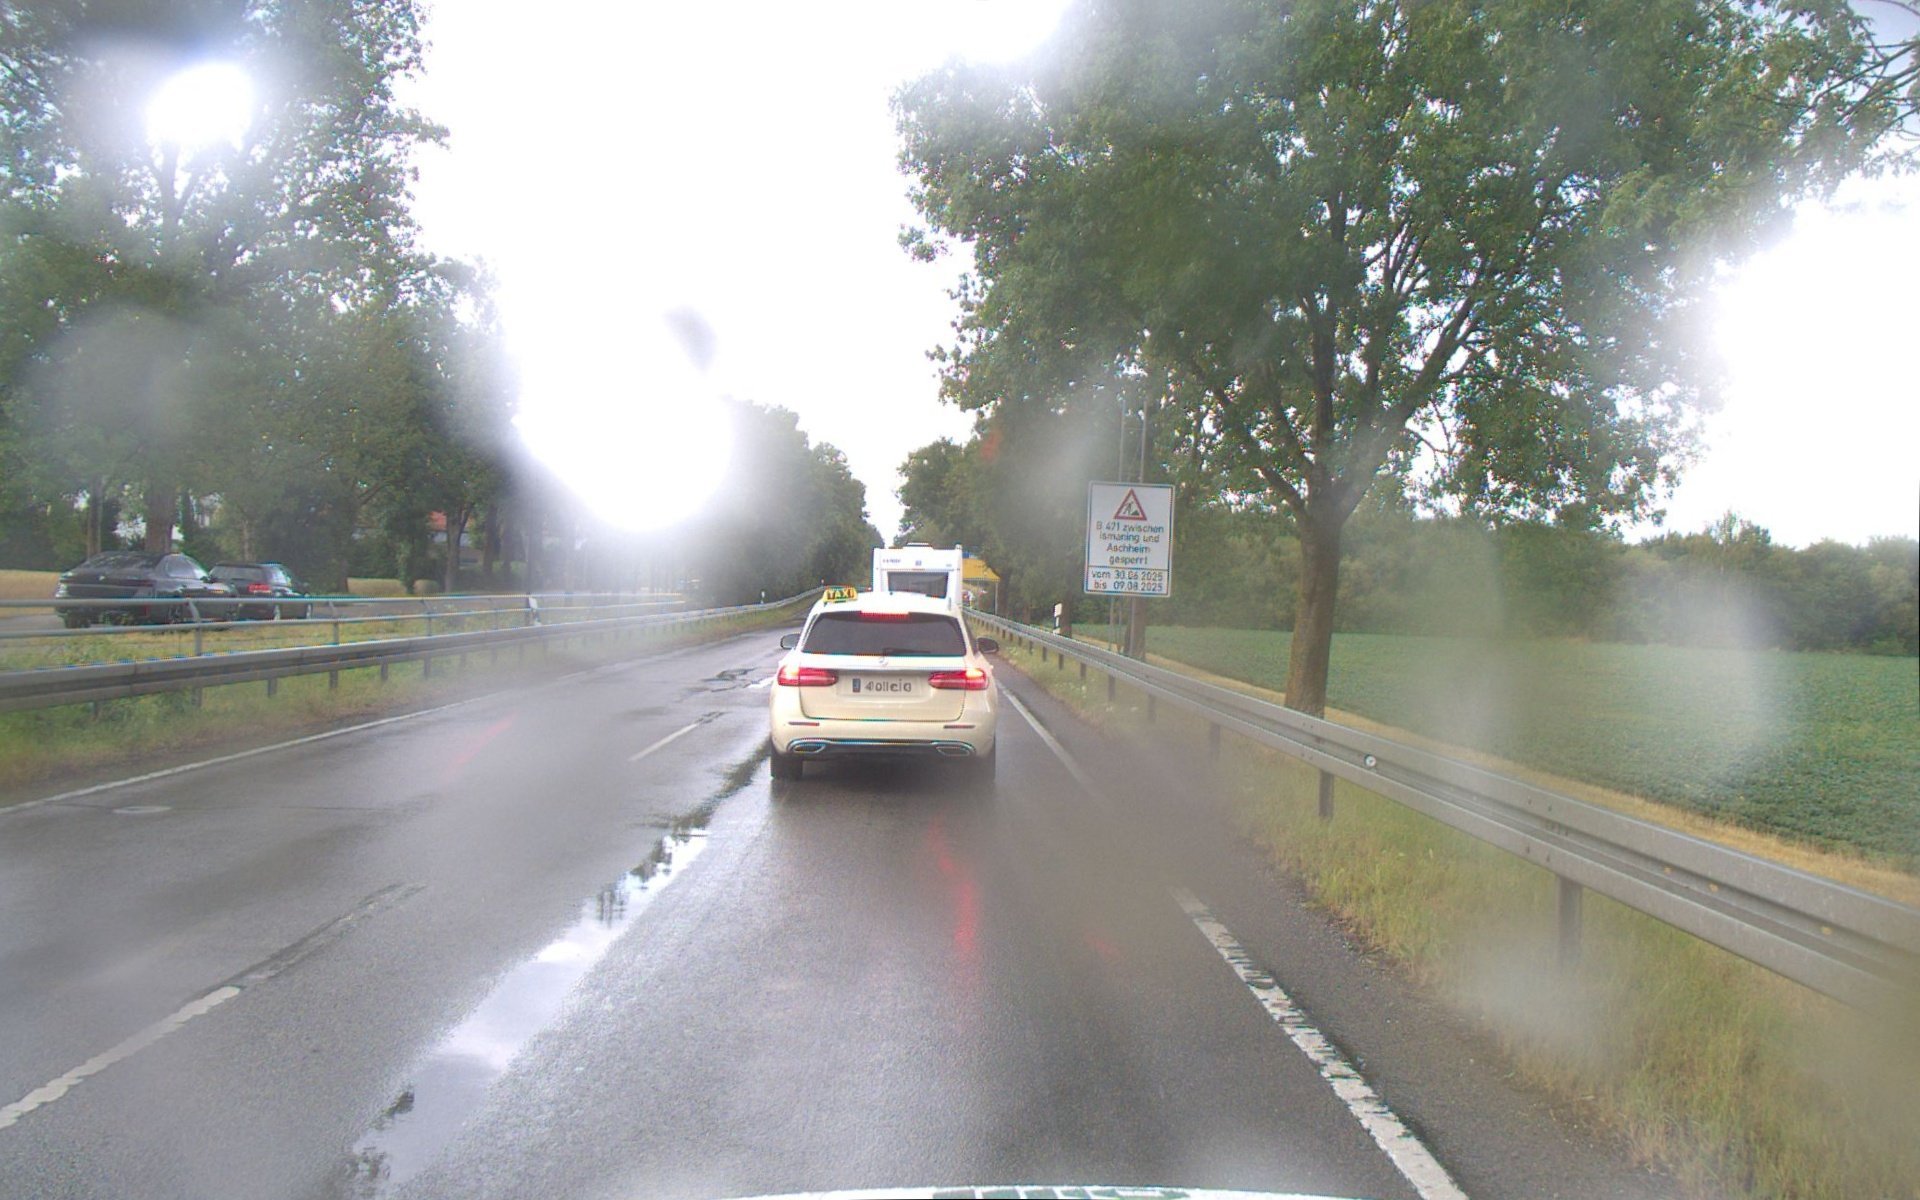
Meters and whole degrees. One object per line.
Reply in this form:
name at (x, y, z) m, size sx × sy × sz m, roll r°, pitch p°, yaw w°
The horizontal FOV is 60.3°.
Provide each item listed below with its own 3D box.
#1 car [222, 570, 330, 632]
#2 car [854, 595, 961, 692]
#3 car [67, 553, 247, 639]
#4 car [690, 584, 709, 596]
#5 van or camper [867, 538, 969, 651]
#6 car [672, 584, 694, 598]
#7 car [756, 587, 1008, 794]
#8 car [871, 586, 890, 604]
car at (-16.186, 0.007, 39.289) m, size 1.258 × 1.354 × 3.893 m, roll 2°, pitch 0°, yaw -6°
car at (-0.820, 0.653, 27.285) m, size 1.630 × 1.455 × 4.000 m, roll 0°, pitch 0°, yaw -1°
car at (-15.815, -0.097, 32.854) m, size 1.486 × 1.517 × 5.116 m, roll 2°, pitch 0°, yaw -6°
car at (-31.293, -1.211, 198.663) m, size 1.750 × 1.440 × 3.998 m, roll 2°, pitch 0°, yaw -3°
van or camper at (-1.056, -0.148, 43.460) m, size 2.439 × 2.732 × 5.699 m, roll 1°, pitch 0°, yaw -1°
car at (-30.989, -0.977, 185.316) m, size 1.749 × 1.440 × 4.000 m, roll 2°, pitch 0°, yaw -1°
car at (-0.585, 0.650, 14.089) m, size 1.827 × 1.502 × 4.000 m, roll 0°, pitch 0°, yaw -1°
car at (-7.336, -0.445, 153.376) m, size 1.729 × 1.647 × 3.998 m, roll 0°, pitch 0°, yaw -2°
